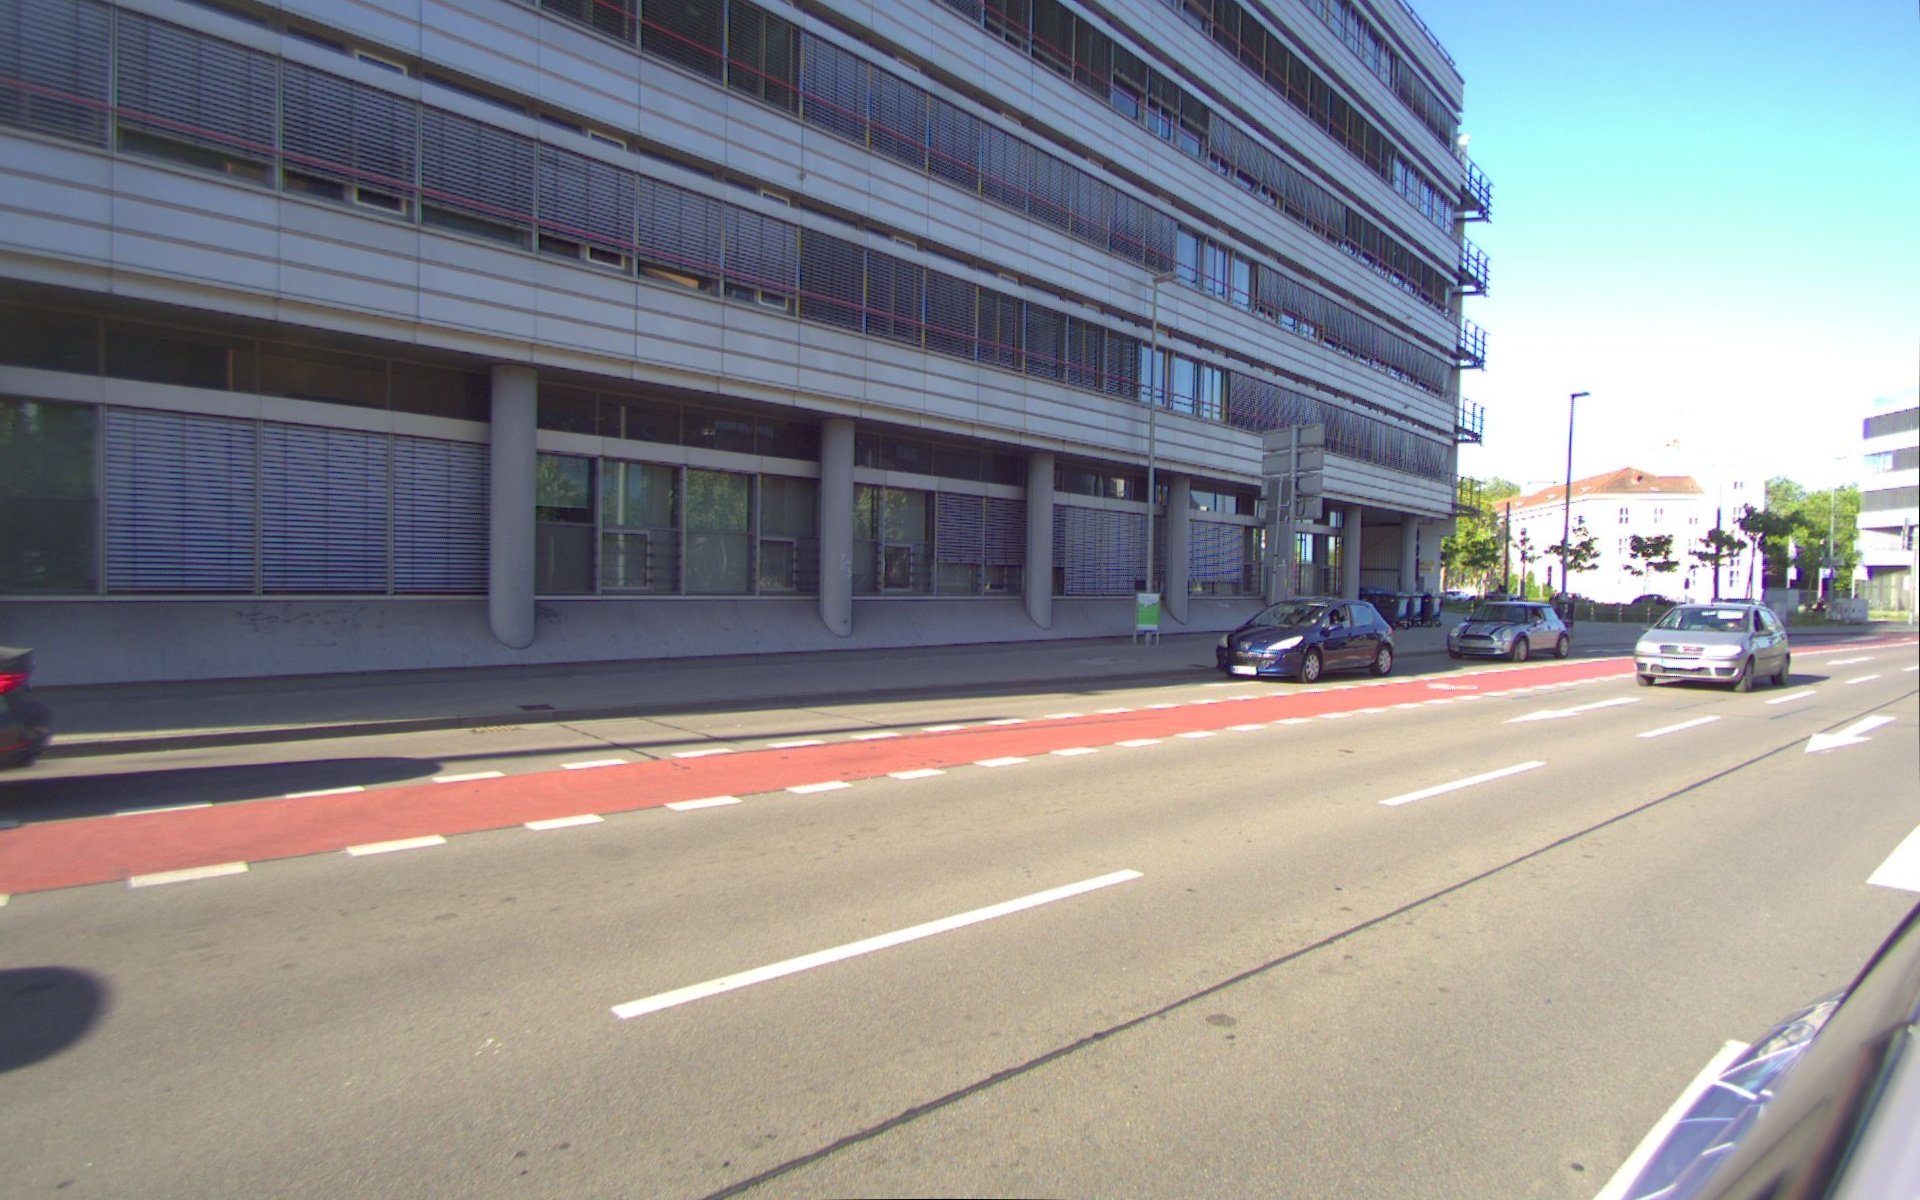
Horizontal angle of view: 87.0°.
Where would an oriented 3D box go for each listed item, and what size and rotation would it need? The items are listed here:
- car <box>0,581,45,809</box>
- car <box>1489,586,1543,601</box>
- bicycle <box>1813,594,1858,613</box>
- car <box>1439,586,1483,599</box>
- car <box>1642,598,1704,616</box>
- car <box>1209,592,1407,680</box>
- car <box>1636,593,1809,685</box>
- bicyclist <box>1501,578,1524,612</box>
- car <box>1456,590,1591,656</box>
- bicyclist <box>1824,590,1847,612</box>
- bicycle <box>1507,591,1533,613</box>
[{"bbox_3d":[-8.057,0.609,5.894,4.041,1.459,1.712,0,1,-43],"label":"car"},{"bbox_3d":[56.404,-0.653,102.727,1.958,1.439,4.535,0,1,-24],"label":"car"},{"bbox_3d":[64.879,0.218,75.019,0.932,1.328,2.376,0,1,-27],"label":"bicycle"},{"bbox_3d":[54.047,-0.786,109.138,1.958,1.259,4.009,0,1,-19],"label":"car"},{"bbox_3d":[62.031,0.572,88.134,1.958,1.439,4.009,0,1,-21],"label":"car"},{"bbox_3d":[6.599,0.601,19.012,3.928,1.464,1.735,0,0,-39],"label":"car"},{"bbox_3d":[13.520,0.601,17.882,3.700,1.447,1.620,0,1,-39],"label":"car"},{"bbox_3d":[27.623,-0.260,50.599,0.973,1.638,0.685,0,1,-39],"label":"bicyclist"},{"bbox_3d":[13.836,0.508,24.785,3.926,1.463,1.439,0,2,-38],"label":"car"},{"bbox_3d":[64.887,0.057,75.038,0.862,1.627,1.009,0,1,-27],"label":"bicyclist"},{"bbox_3d":[27.907,0.099,50.452,1.672,1.070,0.505,-1,4,-40],"label":"bicycle"}]
